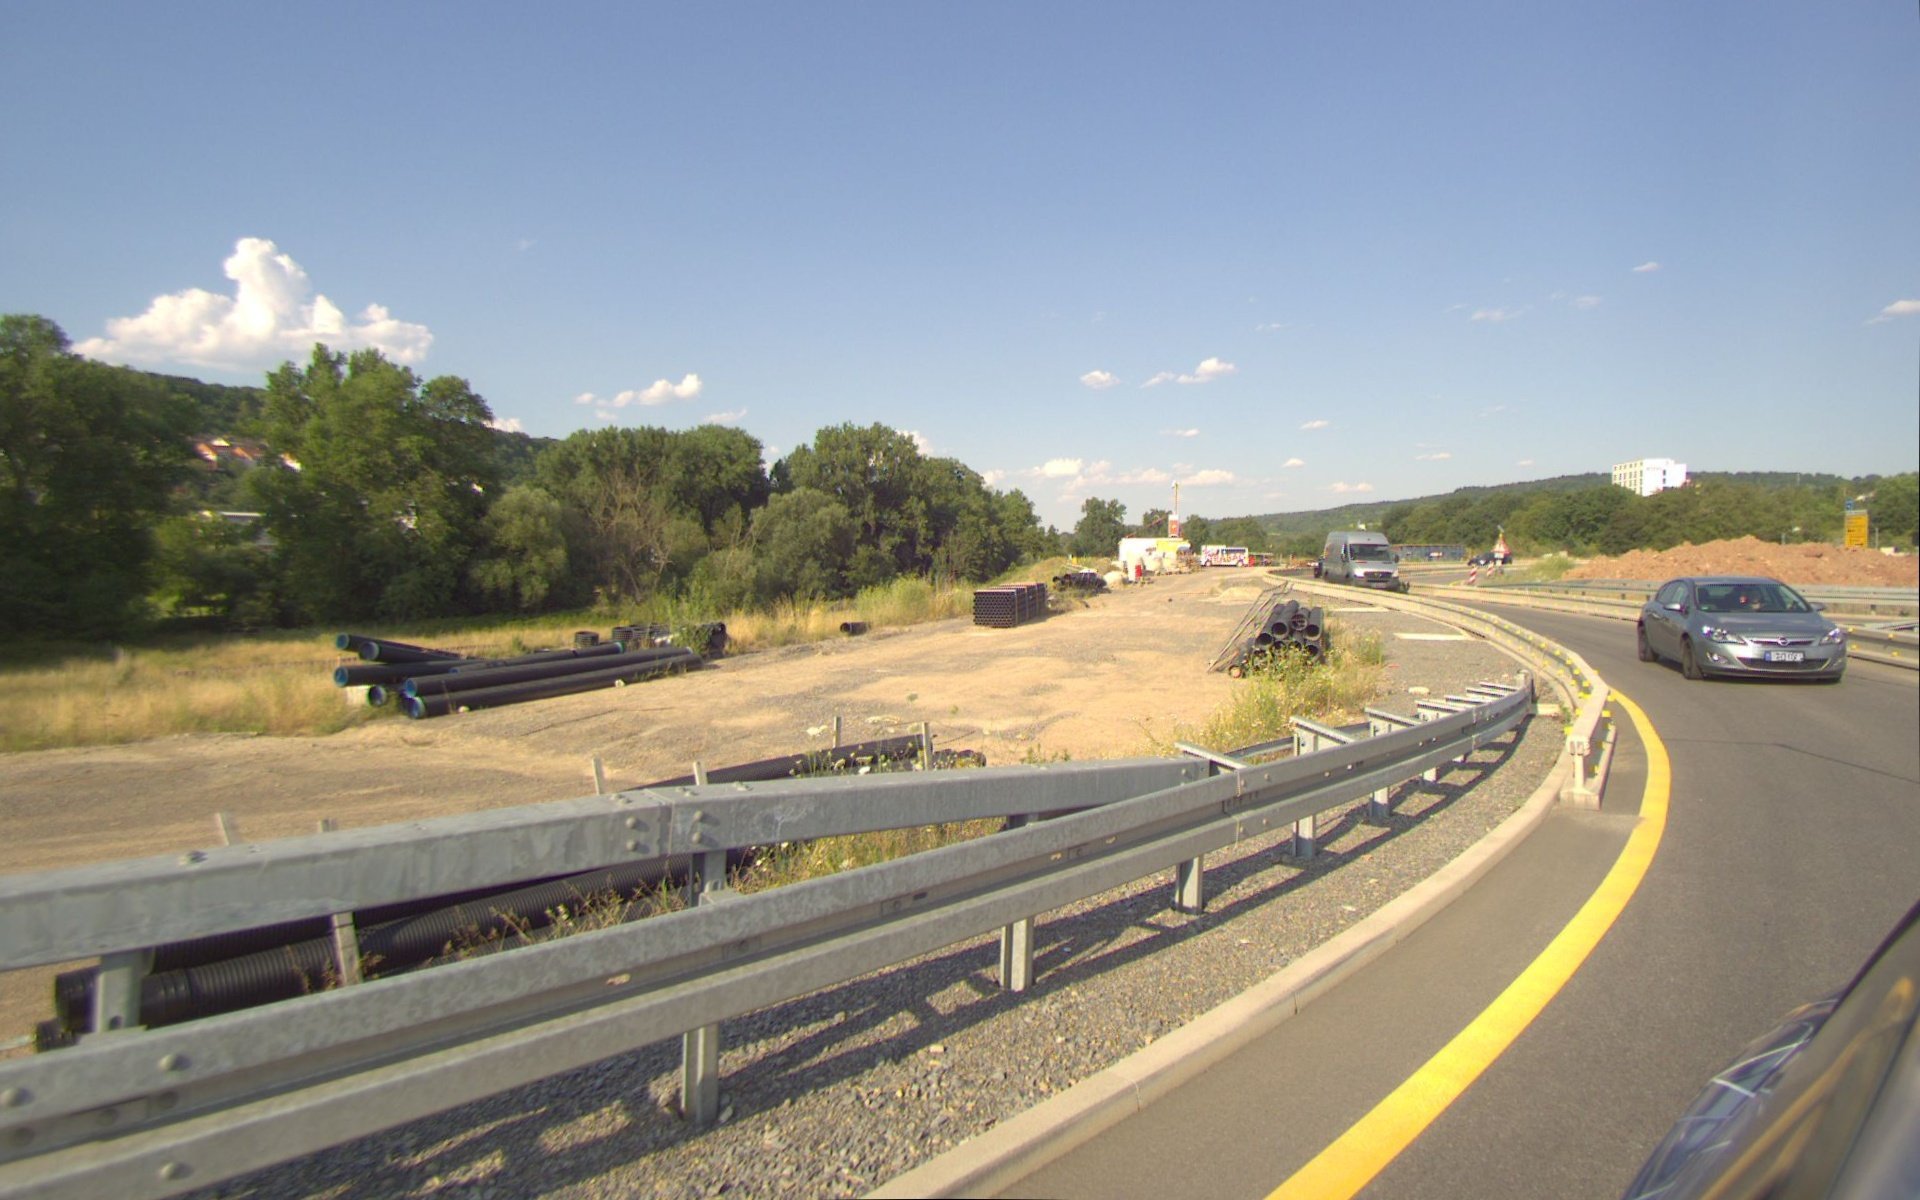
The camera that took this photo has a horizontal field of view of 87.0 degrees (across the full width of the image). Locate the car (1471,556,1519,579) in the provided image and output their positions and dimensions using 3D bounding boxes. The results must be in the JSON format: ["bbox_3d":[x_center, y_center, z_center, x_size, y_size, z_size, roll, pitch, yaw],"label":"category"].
[{"bbox_3d":[45.556,-2.788,86.107,4.044,1.808,1.640,-3,3,-28],"label":"car"}]

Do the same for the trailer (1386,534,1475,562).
[{"bbox_3d":[43.422,-4.824,93.518,7.078,2.443,3.020,-2,2,-13],"label":"trailer"}]

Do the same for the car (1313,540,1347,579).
[{"bbox_3d":[24.276,-2.688,66.517,1.850,2.432,3.982,0,3,16],"label":"car"}]

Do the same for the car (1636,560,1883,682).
[{"bbox_3d":[11.840,0.206,15.338,1.727,1.502,4.224,-1,3,21],"label":"car"}]

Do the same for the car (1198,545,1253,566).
[{"bbox_3d":[27.762,-4.688,105.924,5.229,2.104,2.484,-1,3,8],"label":"car"}]

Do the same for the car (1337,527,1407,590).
[{"bbox_3d":[17.639,-1.845,43.583,1.889,2.531,5.778,0,3,13],"label":"car"}]
